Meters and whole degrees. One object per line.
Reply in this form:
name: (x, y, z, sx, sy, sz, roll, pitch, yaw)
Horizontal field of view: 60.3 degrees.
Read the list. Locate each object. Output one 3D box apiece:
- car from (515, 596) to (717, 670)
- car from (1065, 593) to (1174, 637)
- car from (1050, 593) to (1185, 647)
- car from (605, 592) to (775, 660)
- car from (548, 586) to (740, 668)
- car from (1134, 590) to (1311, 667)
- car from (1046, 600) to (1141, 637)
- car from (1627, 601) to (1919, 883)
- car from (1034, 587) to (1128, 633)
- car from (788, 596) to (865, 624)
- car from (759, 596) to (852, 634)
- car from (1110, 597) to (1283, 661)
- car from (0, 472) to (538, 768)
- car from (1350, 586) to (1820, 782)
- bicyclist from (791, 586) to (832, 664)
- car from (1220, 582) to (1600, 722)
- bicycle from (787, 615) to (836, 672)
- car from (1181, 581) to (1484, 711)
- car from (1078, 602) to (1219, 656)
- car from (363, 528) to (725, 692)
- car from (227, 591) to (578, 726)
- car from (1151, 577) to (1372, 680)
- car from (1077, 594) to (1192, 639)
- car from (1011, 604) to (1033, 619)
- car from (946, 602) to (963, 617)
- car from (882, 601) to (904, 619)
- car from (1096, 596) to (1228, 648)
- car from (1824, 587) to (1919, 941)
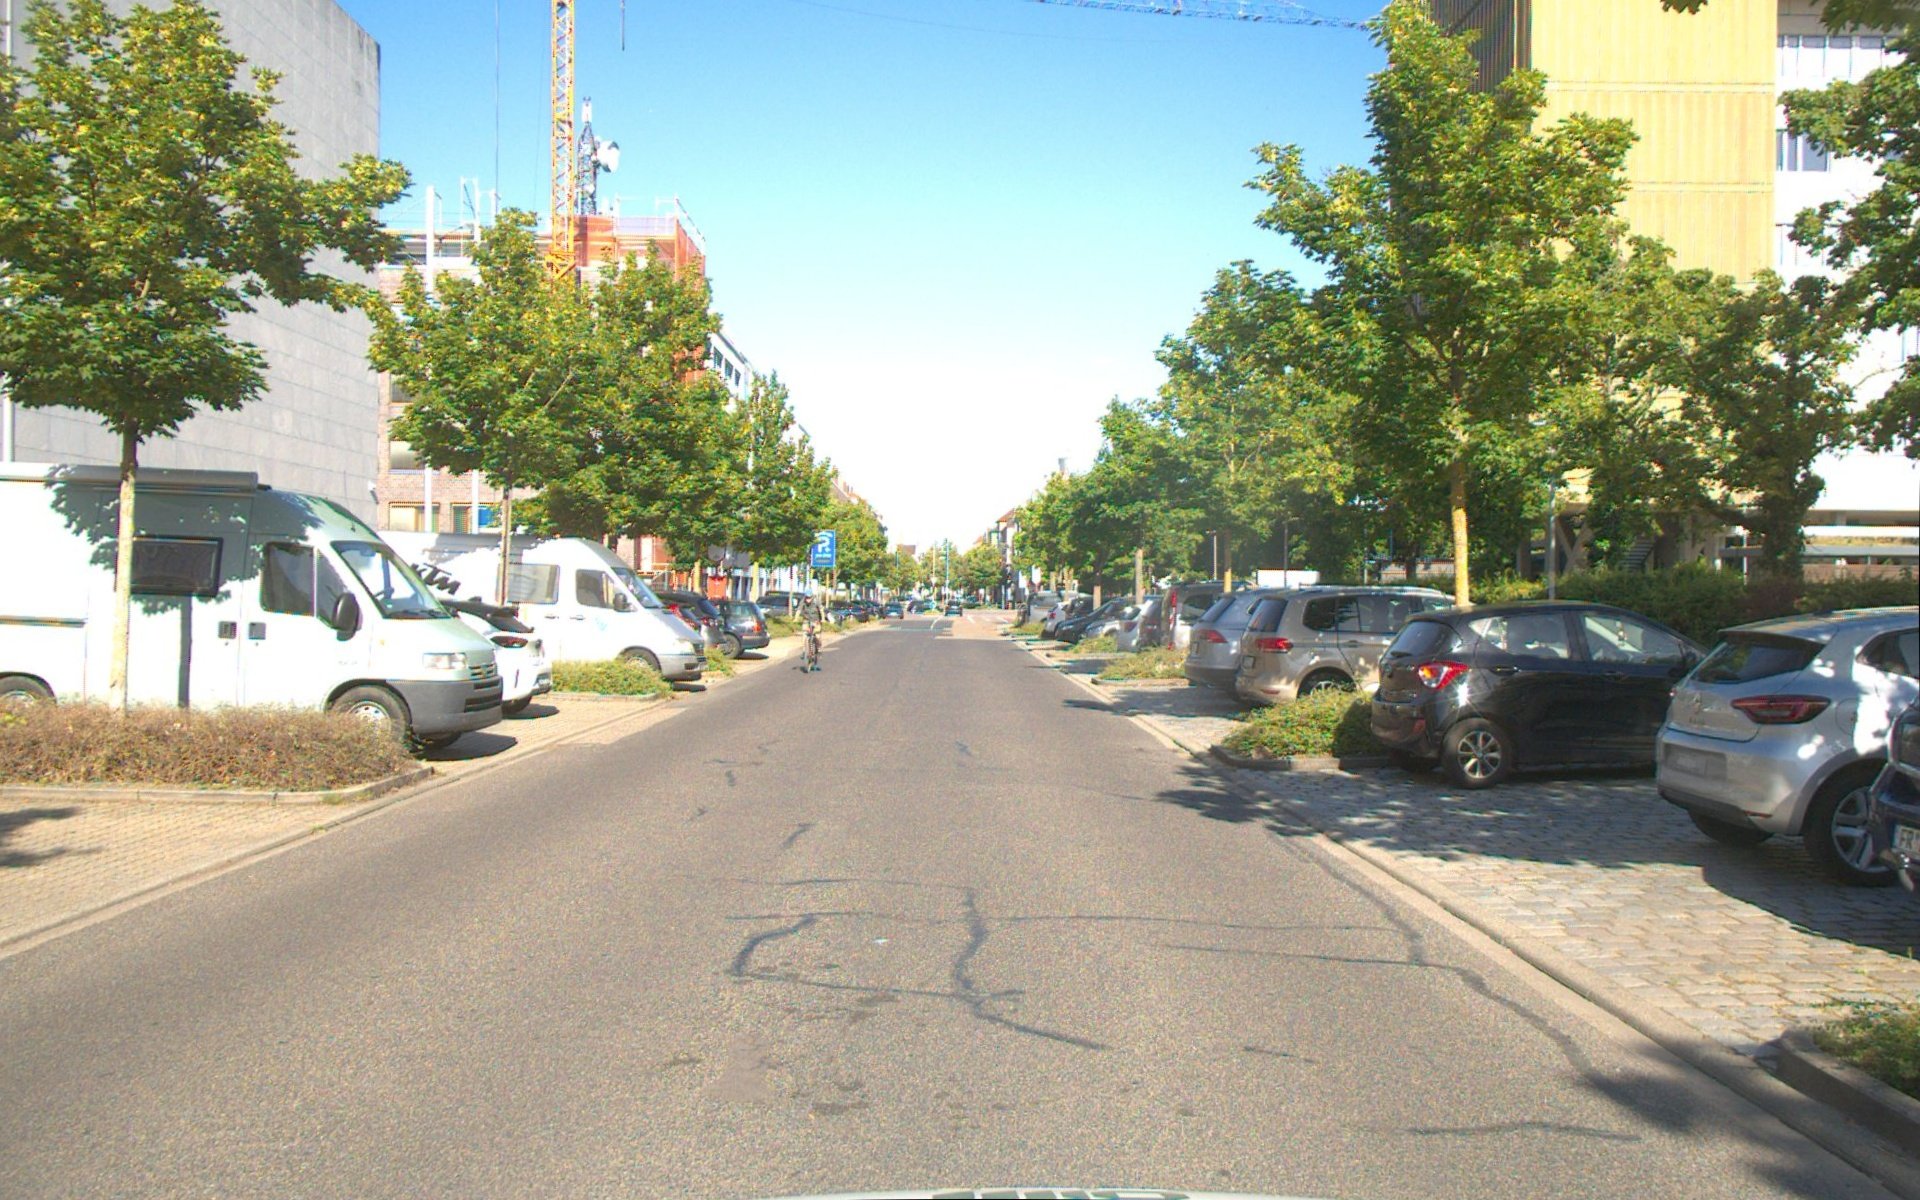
car: (-7.273, 0.683, 35.275, 3.905, 1.544, 1.855, 0, 0, 0)
car: (5.948, 0.560, 61.905, 3.905, 1.610, 2.031, 0, 0, 0)
car: (4.960, 0.625, 52.299, 4.060, 1.607, 1.740, -1, 0, -2)
car: (-6.819, 0.640, 42.162, 4.048, 1.518, 1.868, 2, 1, -4)
car: (-7.140, 0.599, 37.619, 3.904, 1.693, 1.828, 2, 0, 2)
car: (5.633, 0.604, 35.771, 3.533, 1.576, 1.706, 0, 1, -2)
car: (5.361, 0.740, 66.658, 3.689, 1.485, 1.817, 0, 0, -1)
car: (6.028, 0.735, 9.501, 3.655, 1.441, 1.842, 0, 0, 1)
car: (5.136, 0.414, 70.573, 3.905, 1.912, 1.682, 0, 1, 0)
car: (-7.359, 0.548, 91.515, 4.245, 1.500, 1.816, 0, 1, -4)
car: (-7.124, 0.685, 76.637, 4.175, 1.694, 1.599, 0, 1, -1)
car: (5.726, 0.698, 40.368, 3.978, 1.450, 1.742, -1, -1, 1)
car: (-6.921, 0.156, 15.767, 5.141, 2.460, 2.123, 2, 0, 0)
car: (5.310, 0.691, 14.357, 3.383, 1.515, 1.746, -1, -1, -2)
bicyclist: (-3.118, 0.517, 34.855, 0.669, 1.608, 1.061, -1, 0, 4)
car: (5.597, 0.616, 20.908, 4.235, 1.636, 1.910, -1, 0, -4)
bicycle: (-3.114, 0.902, 34.801, 0.683, 1.130, 2.080, -1, 0, 4)
car: (5.181, 0.604, 23.383, 3.821, 1.725, 1.940, 0, 1, -2)
car: (5.365, 0.820, 47.407, 3.821, 1.512, 1.742, 0, 0, -1)
car: (-6.841, 0.152, 27.610, 5.436, 2.452, 1.988, 2, 0, 1)
car: (-6.972, 0.703, 20.975, 3.751, 1.497, 1.849, 2, 0, 1)
car: (5.981, 0.538, 33.155, 4.036, 1.961, 1.978, 0, 1, -2)
car: (6.203, 0.584, 59.129, 3.905, 1.565, 1.861, 0, -1, 0)
car: (6.533, 1.168, 174.837, 1.949, 1.500, 4.109, 0, 1, -2)
car: (-0.564, 0.977, 170.964, 1.774, 1.500, 4.111, 0, 1, 1)
car: (-5.813, 0.863, 144.084, 1.775, 1.500, 4.110, 0, 1, -1)
car: (6.109, 0.645, 50.220, 3.785, 1.531, 1.651, 0, 0, -3)
car: (6.031, 0.692, 6.979, 3.814, 1.524, 1.842, 0, 0, 1)
